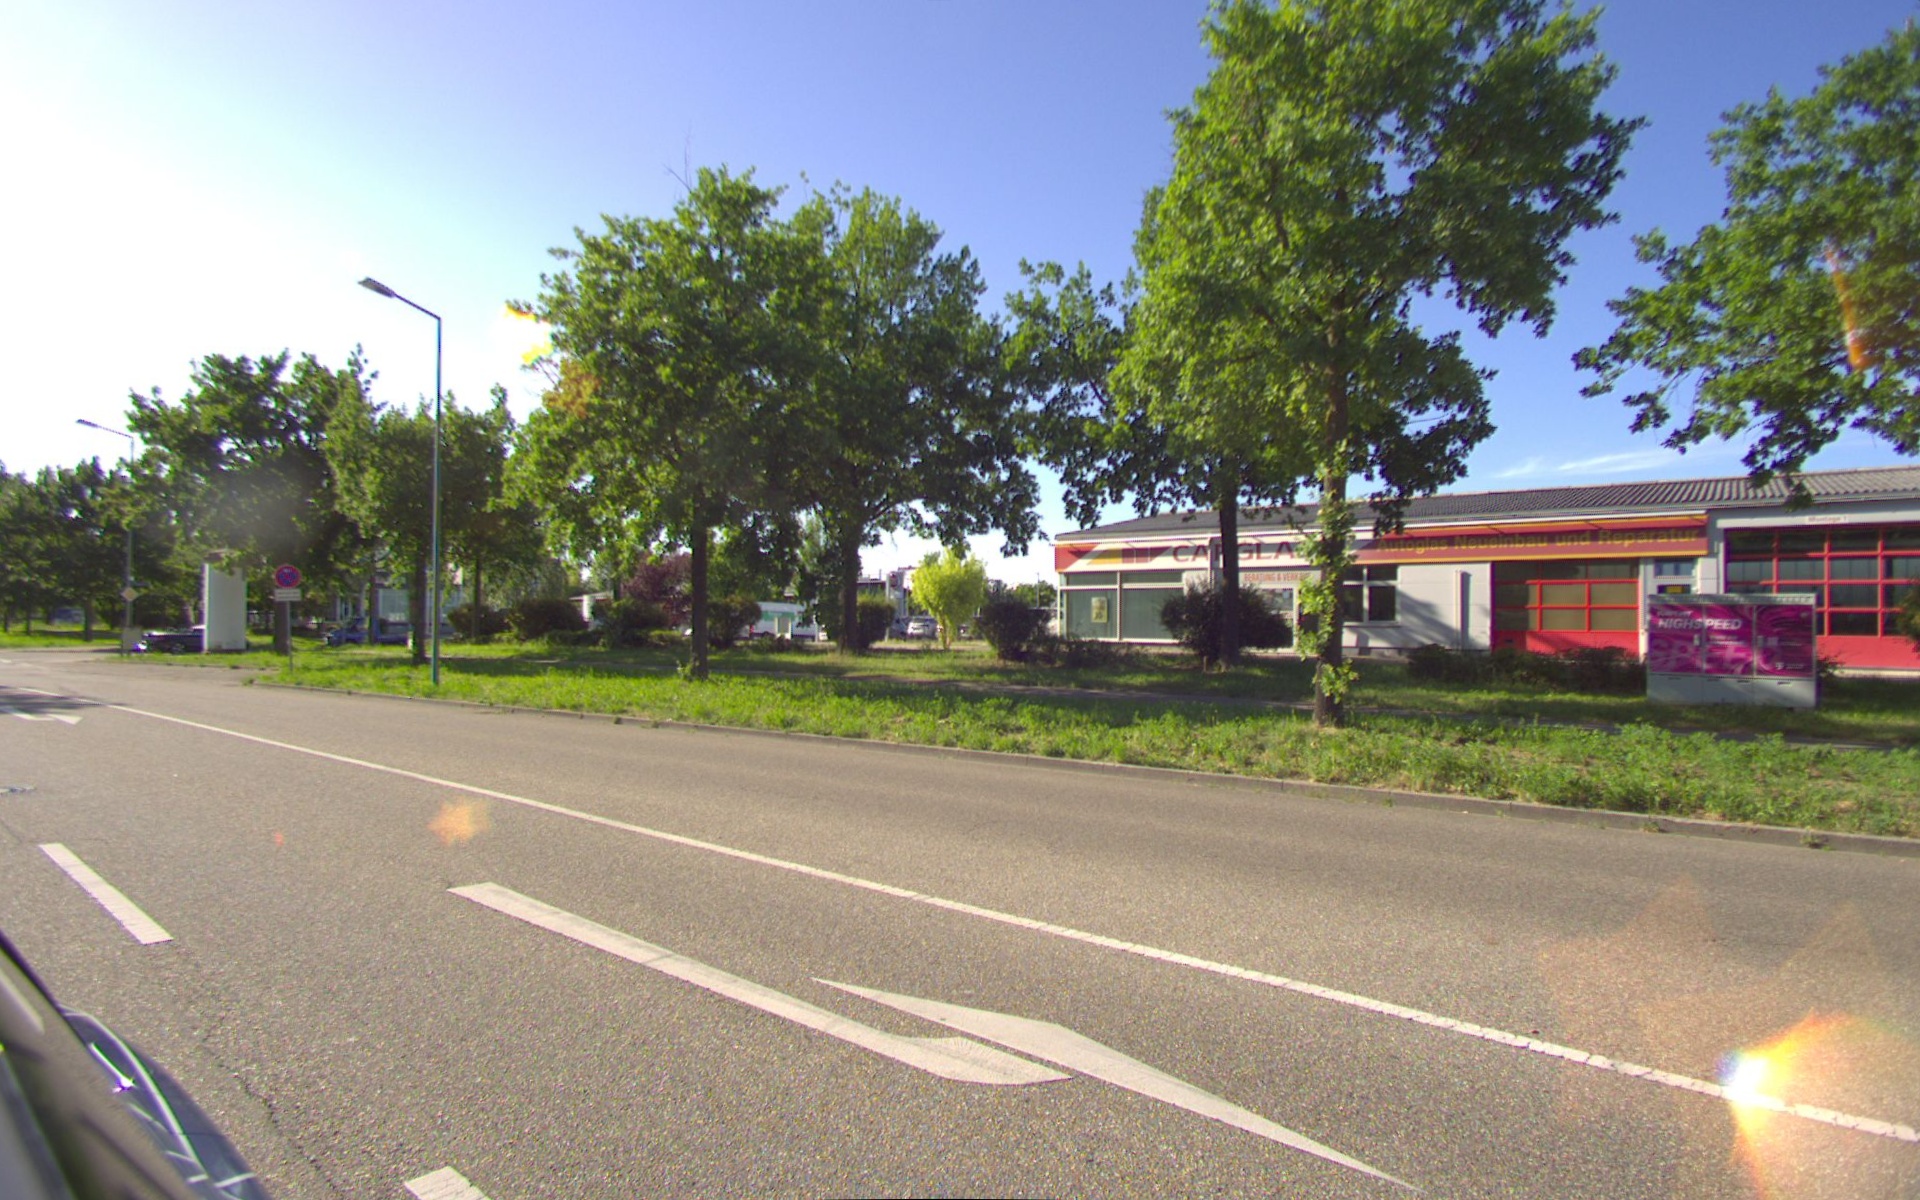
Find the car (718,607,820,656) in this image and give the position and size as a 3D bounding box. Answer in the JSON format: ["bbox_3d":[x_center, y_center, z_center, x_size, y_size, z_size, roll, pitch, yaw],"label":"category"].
[{"bbox_3d":[-11.391,1.805,60.924,2.297,2.723,6.102,0,0,37],"label":"car"}]

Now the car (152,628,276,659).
[{"bbox_3d":[-37.187,2.191,50.568,1.995,1.414,4.533,-1,-5,35],"label":"car"}]

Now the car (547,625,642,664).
[{"bbox_3d":[-26.639,3.175,73.990,2.297,2.535,6.280,0,0,37],"label":"car"}]

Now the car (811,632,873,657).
[{"bbox_3d":[-6.827,2.566,58.774,1.572,1.312,3.489,-1,-1,38],"label":"car"}]

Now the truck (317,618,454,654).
[{"bbox_3d":[-35.160,2.233,62.228,2.138,2.065,7.043,0,-2,38],"label":"truck"}]

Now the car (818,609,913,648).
[{"bbox_3d":[-5.230,1.585,56.599,2.297,2.085,5.359,-1,-2,37],"label":"car"}]
